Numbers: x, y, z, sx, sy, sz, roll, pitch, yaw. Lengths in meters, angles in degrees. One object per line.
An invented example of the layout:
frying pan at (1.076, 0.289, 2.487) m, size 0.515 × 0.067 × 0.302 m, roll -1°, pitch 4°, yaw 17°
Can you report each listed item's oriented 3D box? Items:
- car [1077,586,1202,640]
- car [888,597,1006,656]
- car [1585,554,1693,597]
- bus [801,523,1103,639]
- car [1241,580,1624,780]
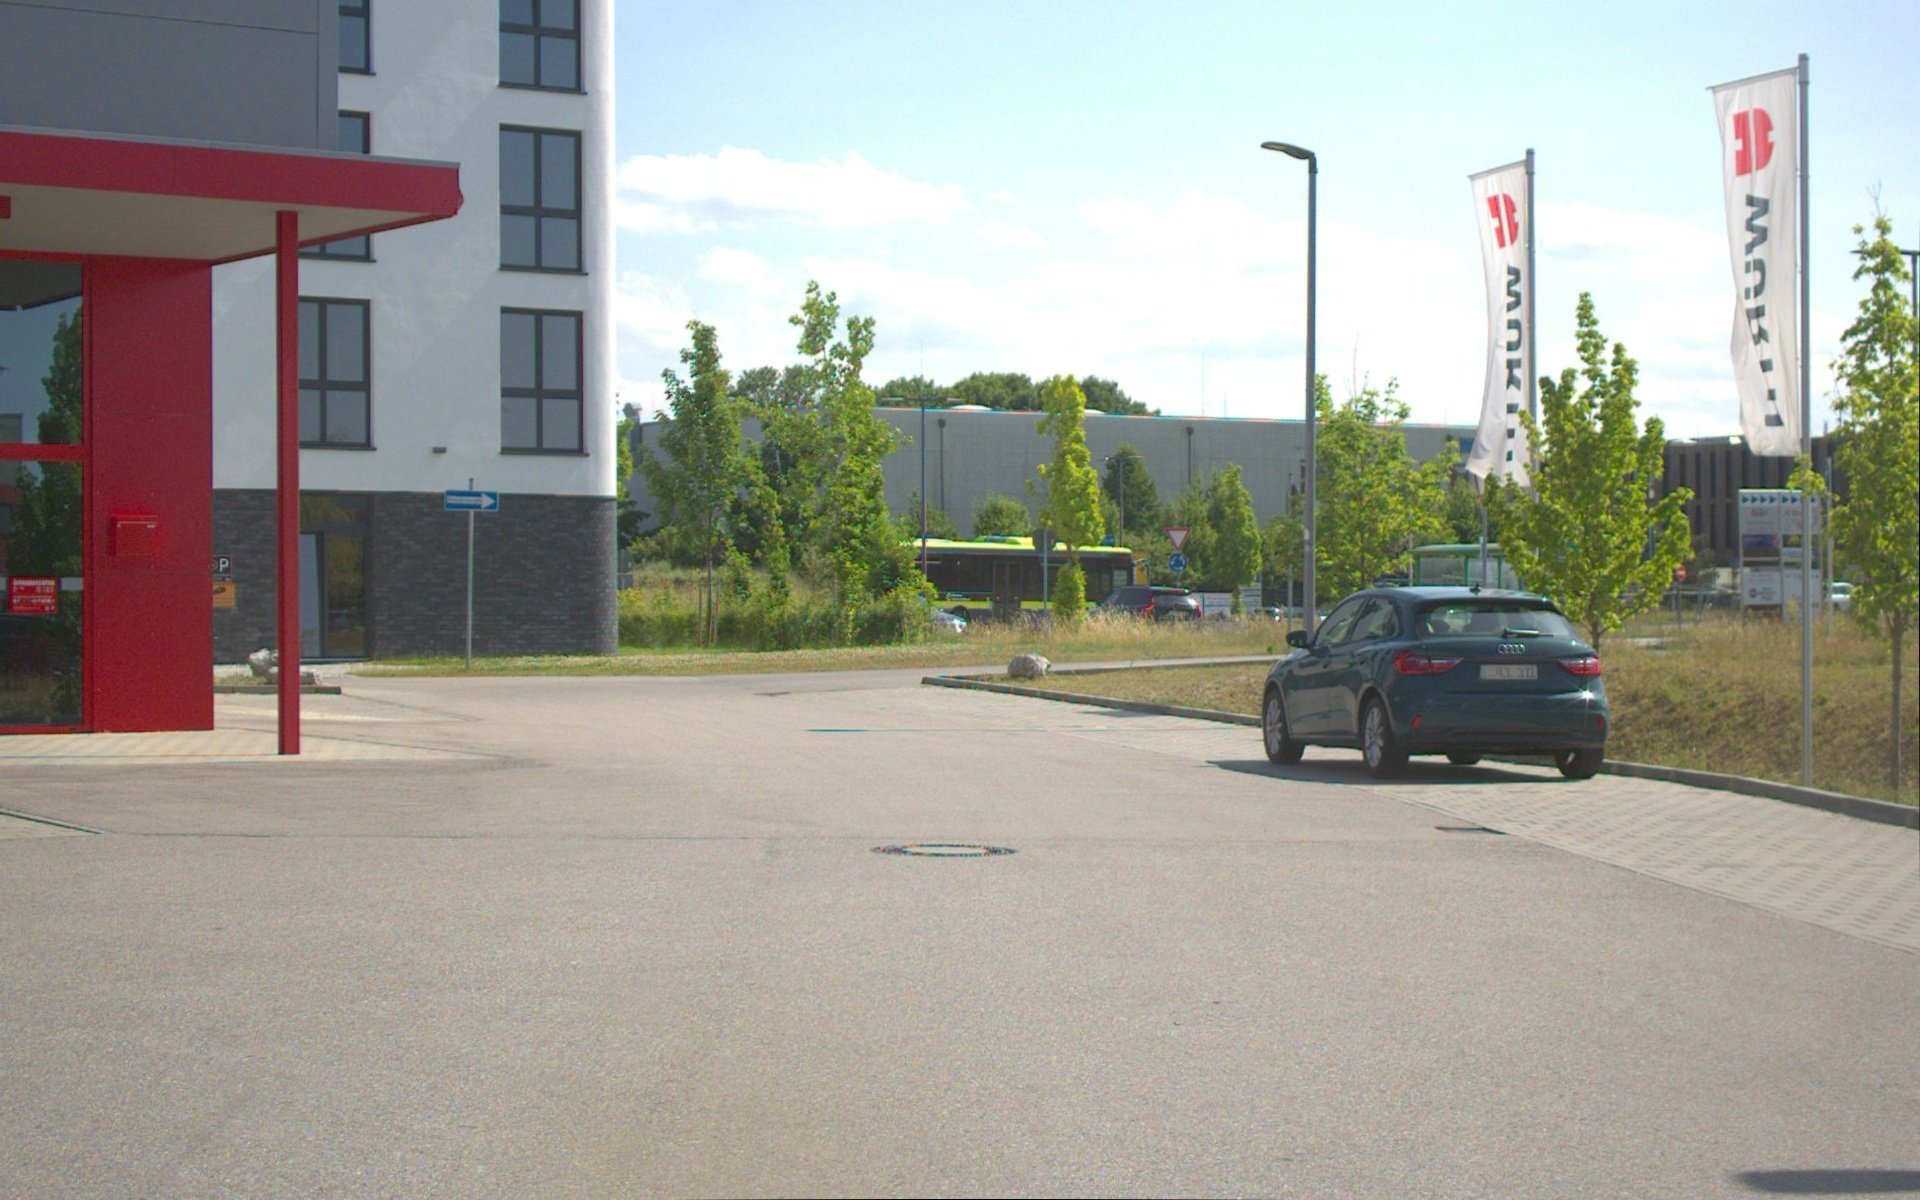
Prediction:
car at (4.907, 0.333, 94.237) m, size 1.647 × 1.381 × 3.512 m, roll 0°, pitch 1°, yaw -34°
car at (-0.371, 0.682, 90.313) m, size 1.714 × 1.438 × 3.709 m, roll 0°, pitch 1°, yaw -24°
car at (26.761, -0.959, 135.462) m, size 3.946 × 1.652 × 1.907 m, roll 0°, pitch 1°, yaw -33°
bus at (-0.121, -0.665, 109.996) m, size 2.573 × 3.545 × 11.222 m, roll 1°, pitch 1°, yaw 44°
car at (3.548, 0.565, 26.509) m, size 1.698 × 1.401 × 3.898 m, roll 1°, pitch 0°, yaw -12°
